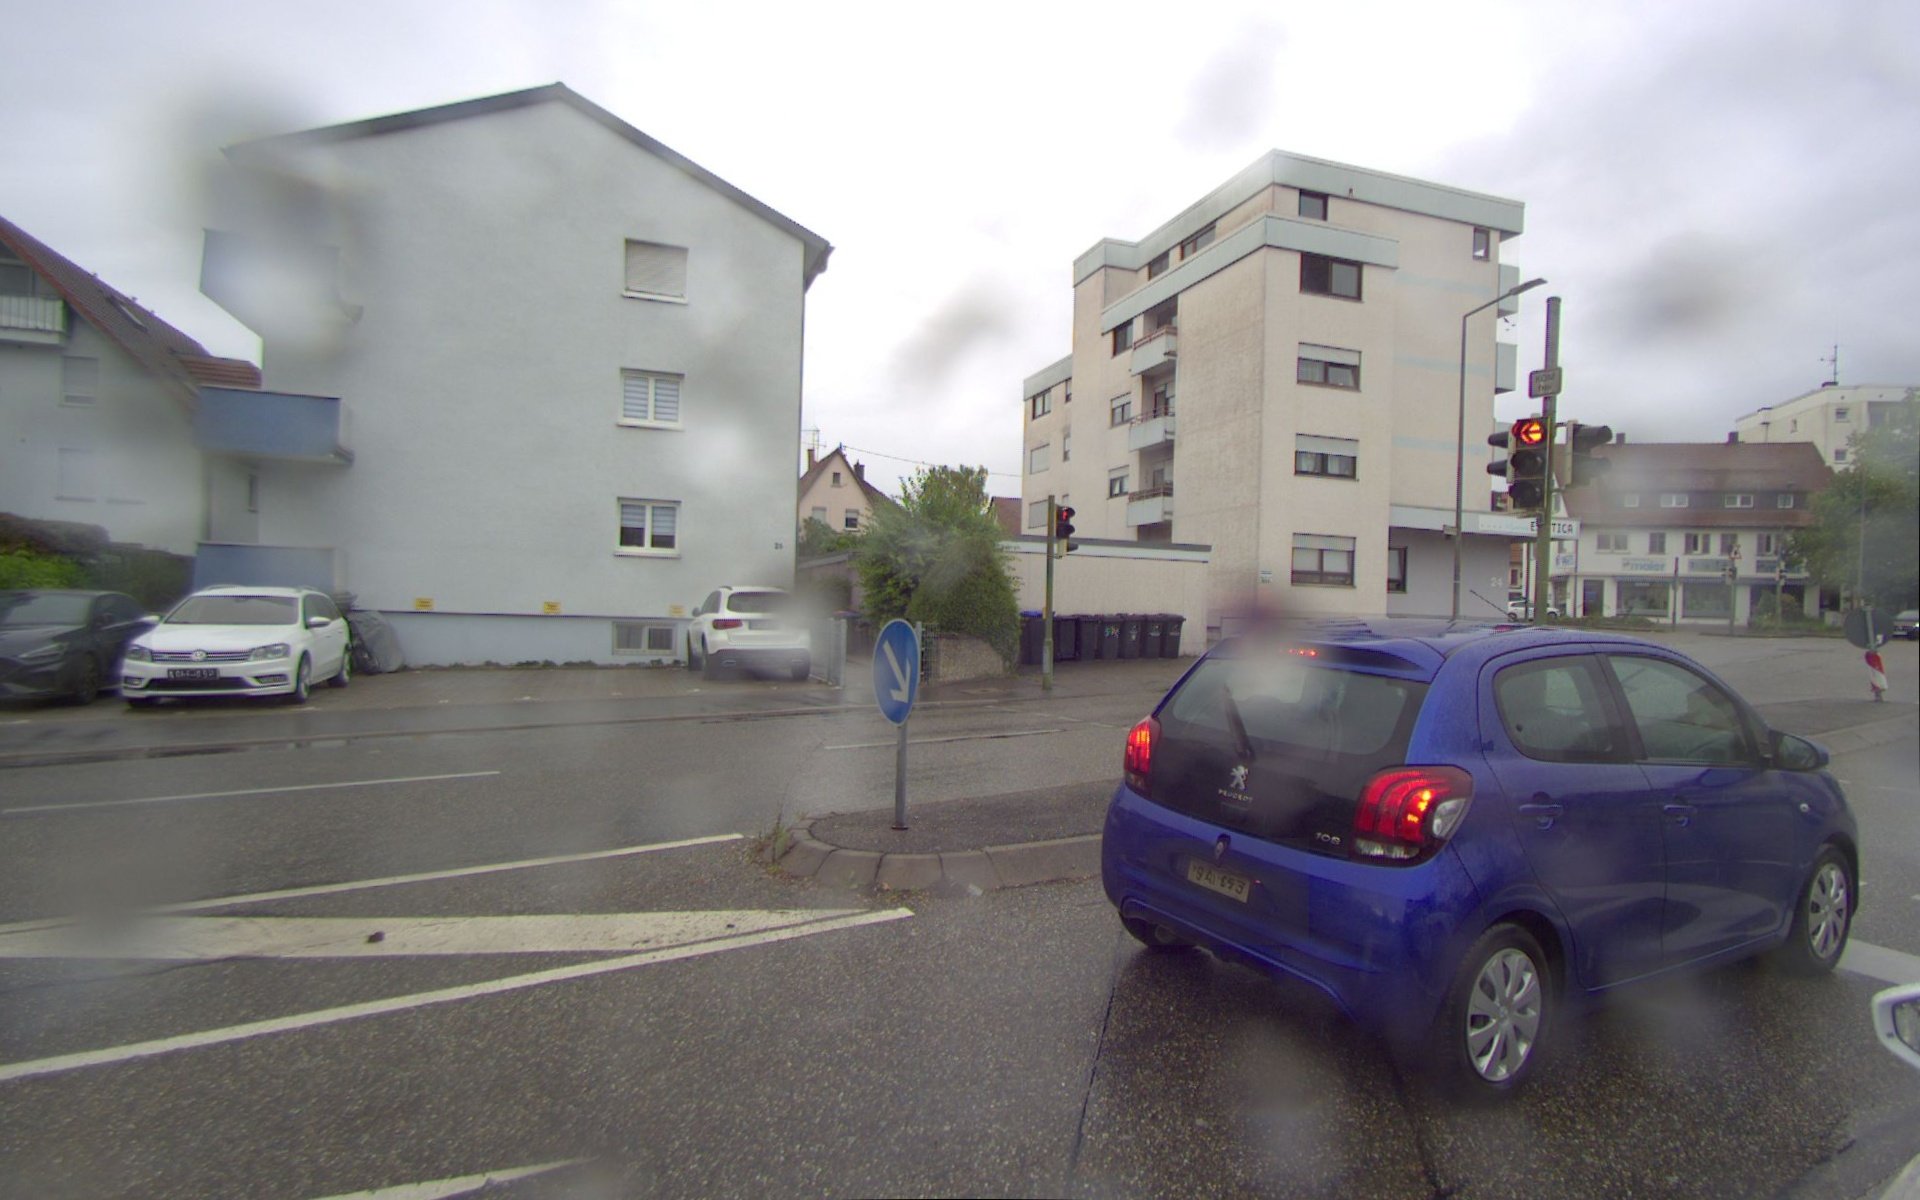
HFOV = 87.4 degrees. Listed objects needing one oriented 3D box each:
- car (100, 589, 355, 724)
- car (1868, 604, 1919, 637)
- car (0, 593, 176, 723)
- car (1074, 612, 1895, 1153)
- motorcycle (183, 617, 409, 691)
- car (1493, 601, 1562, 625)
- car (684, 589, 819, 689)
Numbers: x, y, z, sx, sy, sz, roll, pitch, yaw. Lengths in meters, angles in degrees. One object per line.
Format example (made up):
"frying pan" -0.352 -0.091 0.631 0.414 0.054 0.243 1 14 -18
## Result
"car" -9.483 0.644 13.404 1.878 1.493 4.208 0 0 -24
"car" 43.997 0.921 46.582 3.786 1.439 1.770 0 0 -31
"car" -11.694 0.644 12.702 1.878 1.430 3.976 0 0 -24
"car" 2.251 0.786 4.214 3.231 1.429 1.571 0 1 -30
"motorcycle" -11.255 0.868 17.164 0.864 1.115 3.113 1 0 42
"car" 39.627 0.871 70.248 3.887 1.593 1.873 1 1 17
"car" -4.051 0.661 18.961 1.909 1.658 4.445 0 0 -20
